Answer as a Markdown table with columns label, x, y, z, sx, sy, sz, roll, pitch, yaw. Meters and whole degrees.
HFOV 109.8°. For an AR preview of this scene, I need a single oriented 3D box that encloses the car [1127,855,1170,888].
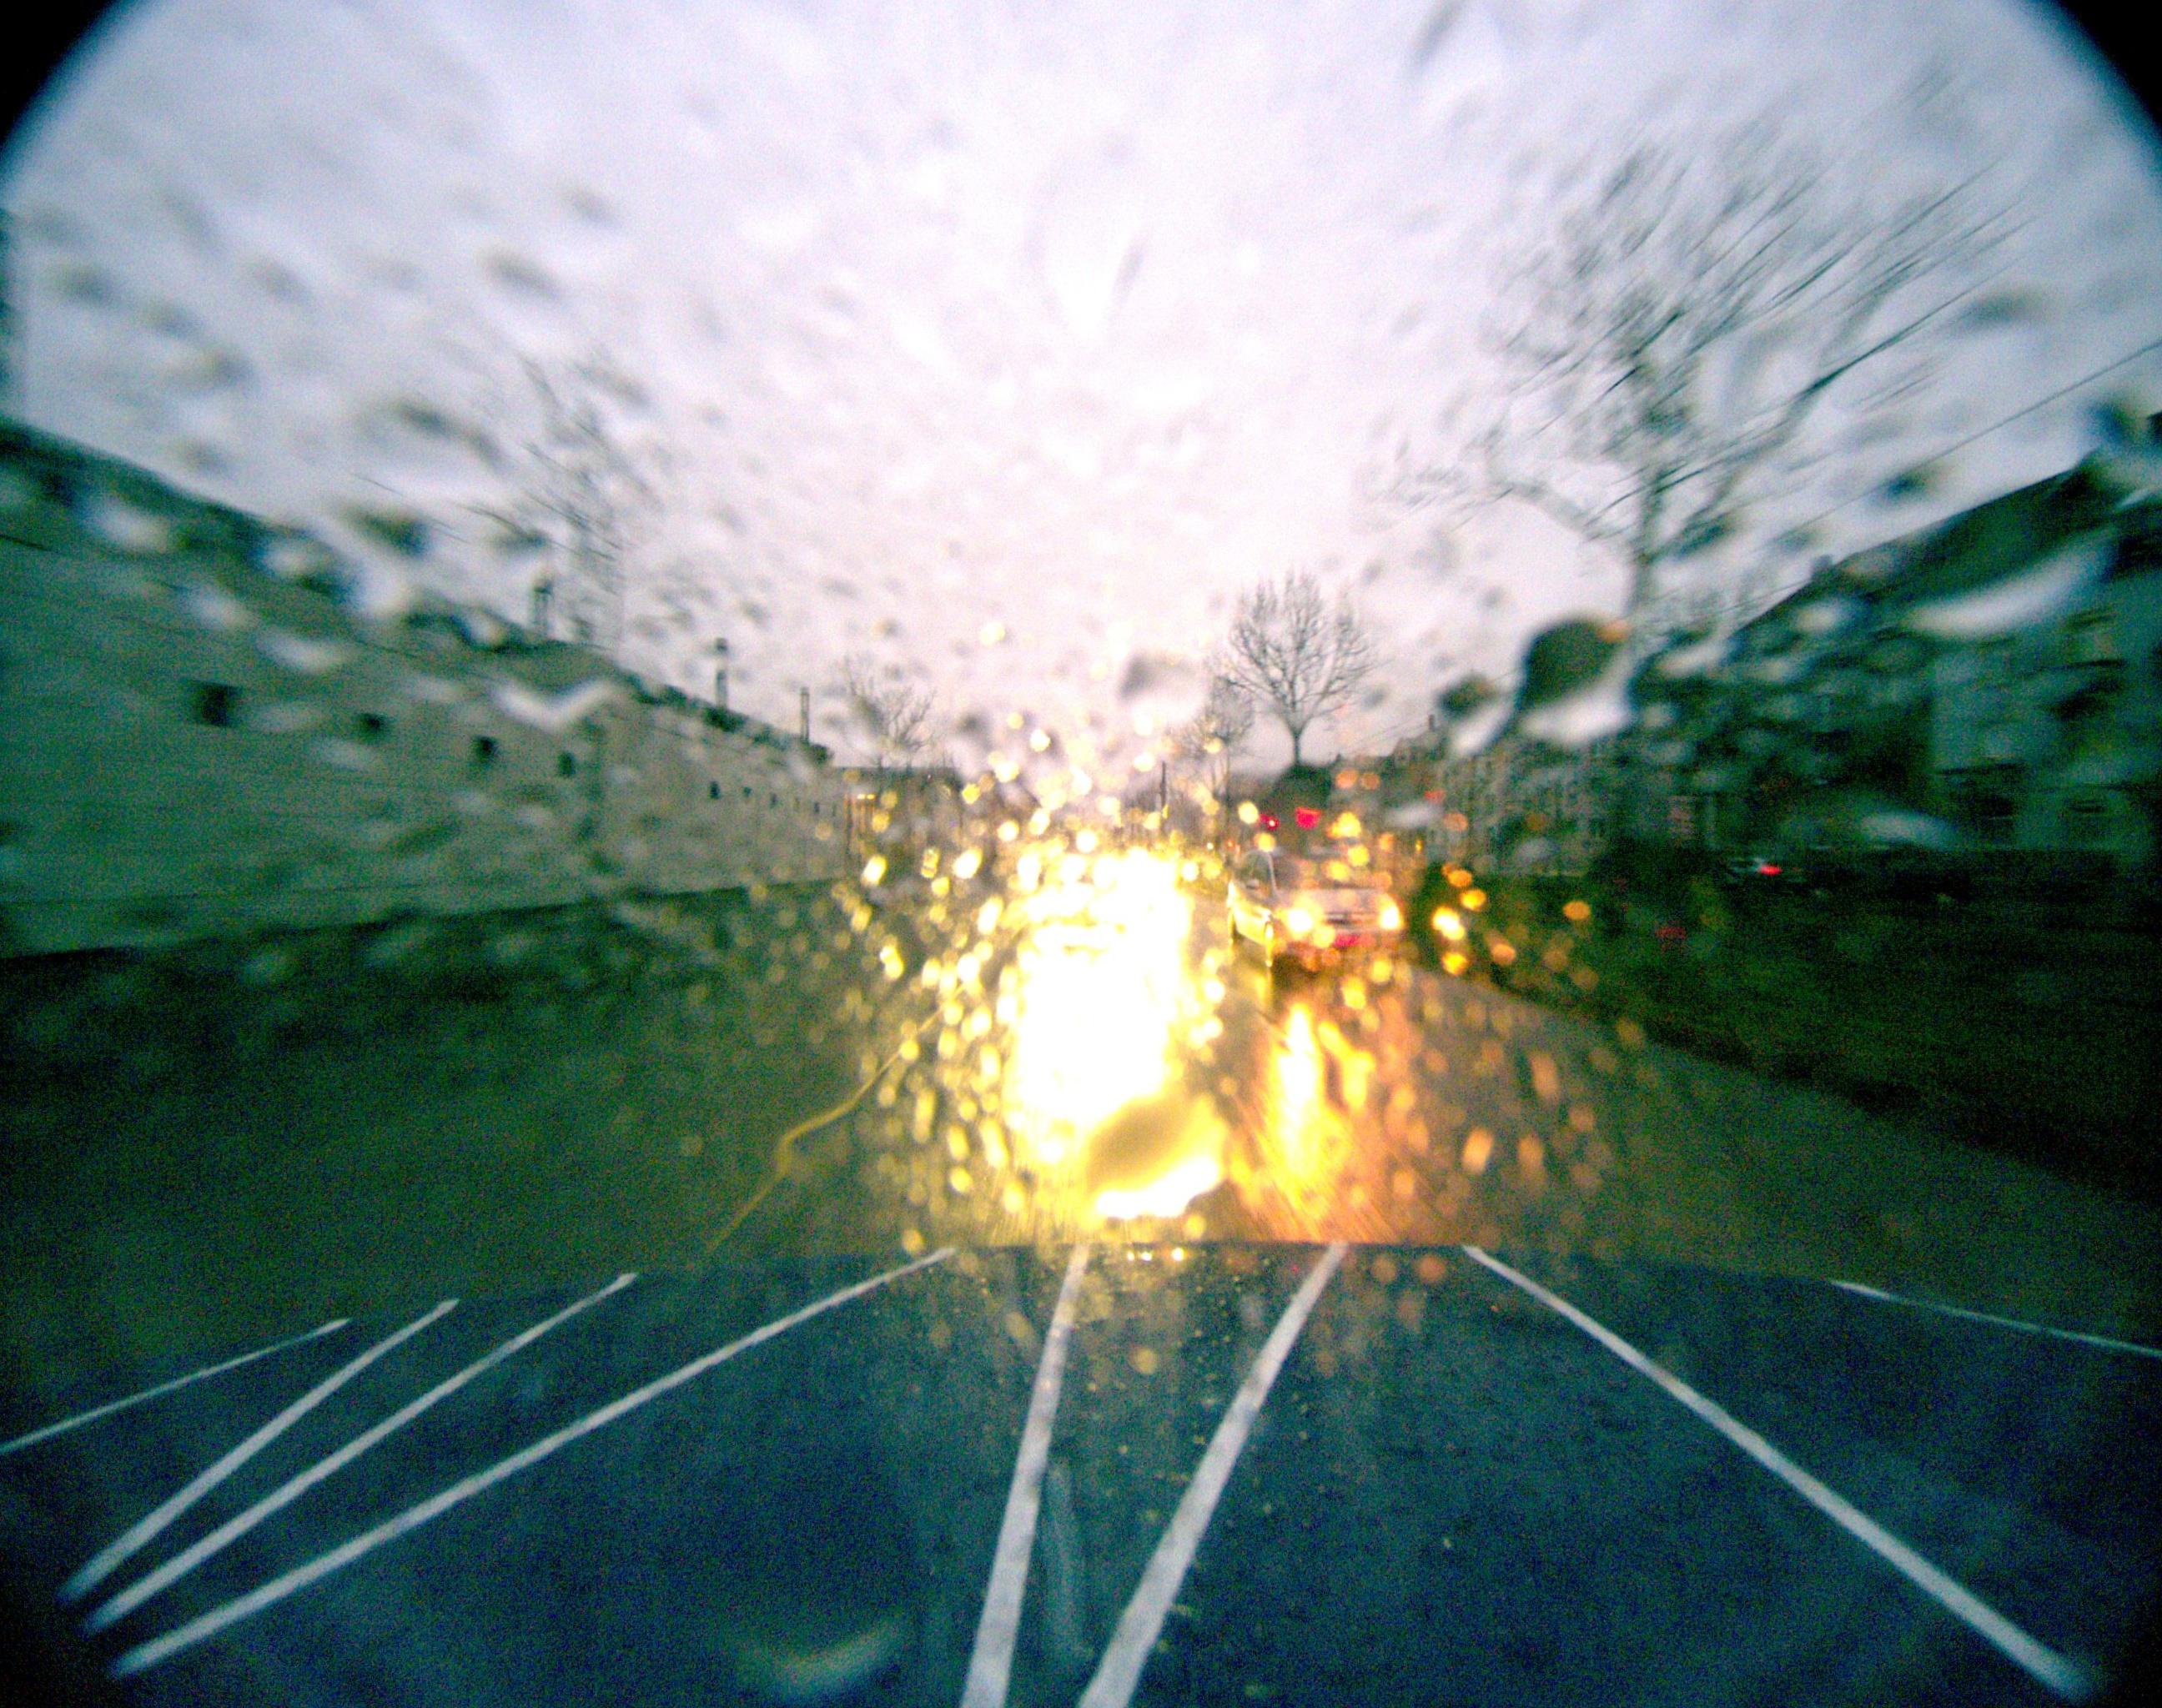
| label | x | y | z | sx | sy | sz | roll | pitch | yaw |
| --- | --- | --- | --- | --- | --- | --- | --- | --- | --- |
| car | 3.371 | 0.855 | 38.583 | 1.905 | 1.475 | 3.656 | -2 | 0 | 2 |

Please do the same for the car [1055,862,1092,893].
| label | x | y | z | sx | sy | sz | roll | pitch | yaw |
| --- | --- | --- | --- | --- | --- | --- | --- | --- | --- |
| car | -0.339 | 1.133 | 37.730 | 1.737 | 1.311 | 3.803 | -2 | 0 | 0 |

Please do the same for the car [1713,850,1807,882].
| label | x | y | z | sx | sy | sz | roll | pitch | yaw |
| --- | --- | --- | --- | --- | --- | --- | --- | --- | --- |
| car | 34.794 | 0.568 | 39.076 | 1.684 | 1.542 | 3.538 | -2 | 0 | 1 |

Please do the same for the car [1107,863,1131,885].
| label | x | y | z | sx | sy | sz | roll | pitch | yaw |
| --- | --- | --- | --- | --- | --- | --- | --- | --- | --- |
| car | 2.648 | 1.381 | 53.397 | 1.538 | 1.347 | 3.546 | -2 | 0 | 0 |

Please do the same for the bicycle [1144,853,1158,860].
| label | x | y | z | sx | sy | sz | roll | pitch | yaw |
| --- | --- | --- | --- | --- | --- | --- | --- | --- | --- |
| bicycle | 9.169 | 0.298 | 99.367 | 1.725 | 0.893 | 0.733 | 2 | 1 | 1 |

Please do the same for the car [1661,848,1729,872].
| label | x | y | z | sx | sy | sz | roll | pitch | yaw |
| --- | --- | --- | --- | --- | --- | --- | --- | --- | --- |
| car | 42.578 | 0.386 | 52.705 | 3.362 | 1.534 | 1.611 | -2 | 1 | 2 |

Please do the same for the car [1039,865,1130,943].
| label | x | y | z | sx | sy | sz | roll | pitch | yaw |
| --- | --- | --- | --- | --- | --- | --- | --- | --- | --- |
| car | 0.074 | 0.970 | 16.165 | 1.669 | 1.325 | 3.787 | -2 | 0 | 0 |

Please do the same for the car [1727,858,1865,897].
| label | x | y | z | sx | sy | sz | roll | pitch | yaw |
| --- | --- | --- | --- | --- | --- | --- | --- | --- | --- |
| car | 28.644 | 0.936 | 30.635 | 3.940 | 1.440 | 1.823 | -2 | 0 | 41 |

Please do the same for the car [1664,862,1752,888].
| label | x | y | z | sx | sy | sz | roll | pitch | yaw |
| --- | --- | --- | --- | --- | --- | --- | --- | --- | --- |
| car | 30.940 | 1.009 | 37.631 | 1.233 | 1.162 | 3.900 | -2 | 0 | 1 |

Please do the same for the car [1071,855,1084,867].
| label | x | y | z | sx | sy | sz | roll | pitch | yaw |
| --- | --- | --- | --- | --- | --- | --- | --- | --- | --- |
| car | -0.515 | 1.028 | 110.101 | 1.787 | 1.689 | 3.639 | -2 | 0 | 1 |

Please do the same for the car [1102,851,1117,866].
| label | x | y | z | sx | sy | sz | roll | pitch | yaw |
| --- | --- | --- | --- | --- | --- | --- | --- | --- | --- |
| car | 3.437 | 0.558 | 91.463 | 1.686 | 1.669 | 3.468 | -2 | 0 | 1 |

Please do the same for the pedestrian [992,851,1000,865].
| label | x | y | z | sx | sy | sz | roll | pitch | yaw |
| --- | --- | --- | --- | --- | --- | --- | --- | --- | --- |
| pedestrian | -10.086 | 0.452 | 89.786 | 0.814 | 1.621 | 0.883 | 2 | 1 | 0 |

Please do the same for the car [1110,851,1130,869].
| label | x | y | z | sx | sy | sz | roll | pitch | yaw |
| --- | --- | --- | --- | --- | --- | --- | --- | --- | --- |
| car | 3.824 | 0.609 | 74.625 | 1.802 | 1.674 | 3.805 | -2 | 0 | 0 |

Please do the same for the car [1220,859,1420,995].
| label | x | y | z | sx | sy | sz | roll | pitch | yaw |
| --- | --- | --- | --- | --- | --- | --- | --- | --- | --- |
| car | 3.168 | 0.871 | 10.881 | 1.638 | 1.510 | 3.907 | -2 | 0 | 0 |

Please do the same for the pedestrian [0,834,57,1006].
| label | x | y | z | sx | sy | sz | roll | pitch | yaw |
| --- | --- | --- | --- | --- | --- | --- | --- | --- | --- |
| pedestrian | -10.661 | 0.630 | 7.157 | 0.669 | 1.646 | 0.994 | 1 | 1 | -5 |

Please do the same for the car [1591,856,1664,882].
| label | x | y | z | sx | sy | sz | roll | pitch | yaw |
| --- | --- | --- | --- | --- | --- | --- | --- | --- | --- |
| car | 30.774 | 0.831 | 42.941 | 1.468 | 1.332 | 3.910 | -2 | 0 | 3 |

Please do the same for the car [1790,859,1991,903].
| label | x | y | z | sx | sy | sz | roll | pitch | yaw |
| --- | --- | --- | --- | --- | --- | --- | --- | --- | --- |
| car | 28.502 | 0.935 | 26.998 | 4.651 | 1.423 | 1.697 | -1 | 1 | 37 |
